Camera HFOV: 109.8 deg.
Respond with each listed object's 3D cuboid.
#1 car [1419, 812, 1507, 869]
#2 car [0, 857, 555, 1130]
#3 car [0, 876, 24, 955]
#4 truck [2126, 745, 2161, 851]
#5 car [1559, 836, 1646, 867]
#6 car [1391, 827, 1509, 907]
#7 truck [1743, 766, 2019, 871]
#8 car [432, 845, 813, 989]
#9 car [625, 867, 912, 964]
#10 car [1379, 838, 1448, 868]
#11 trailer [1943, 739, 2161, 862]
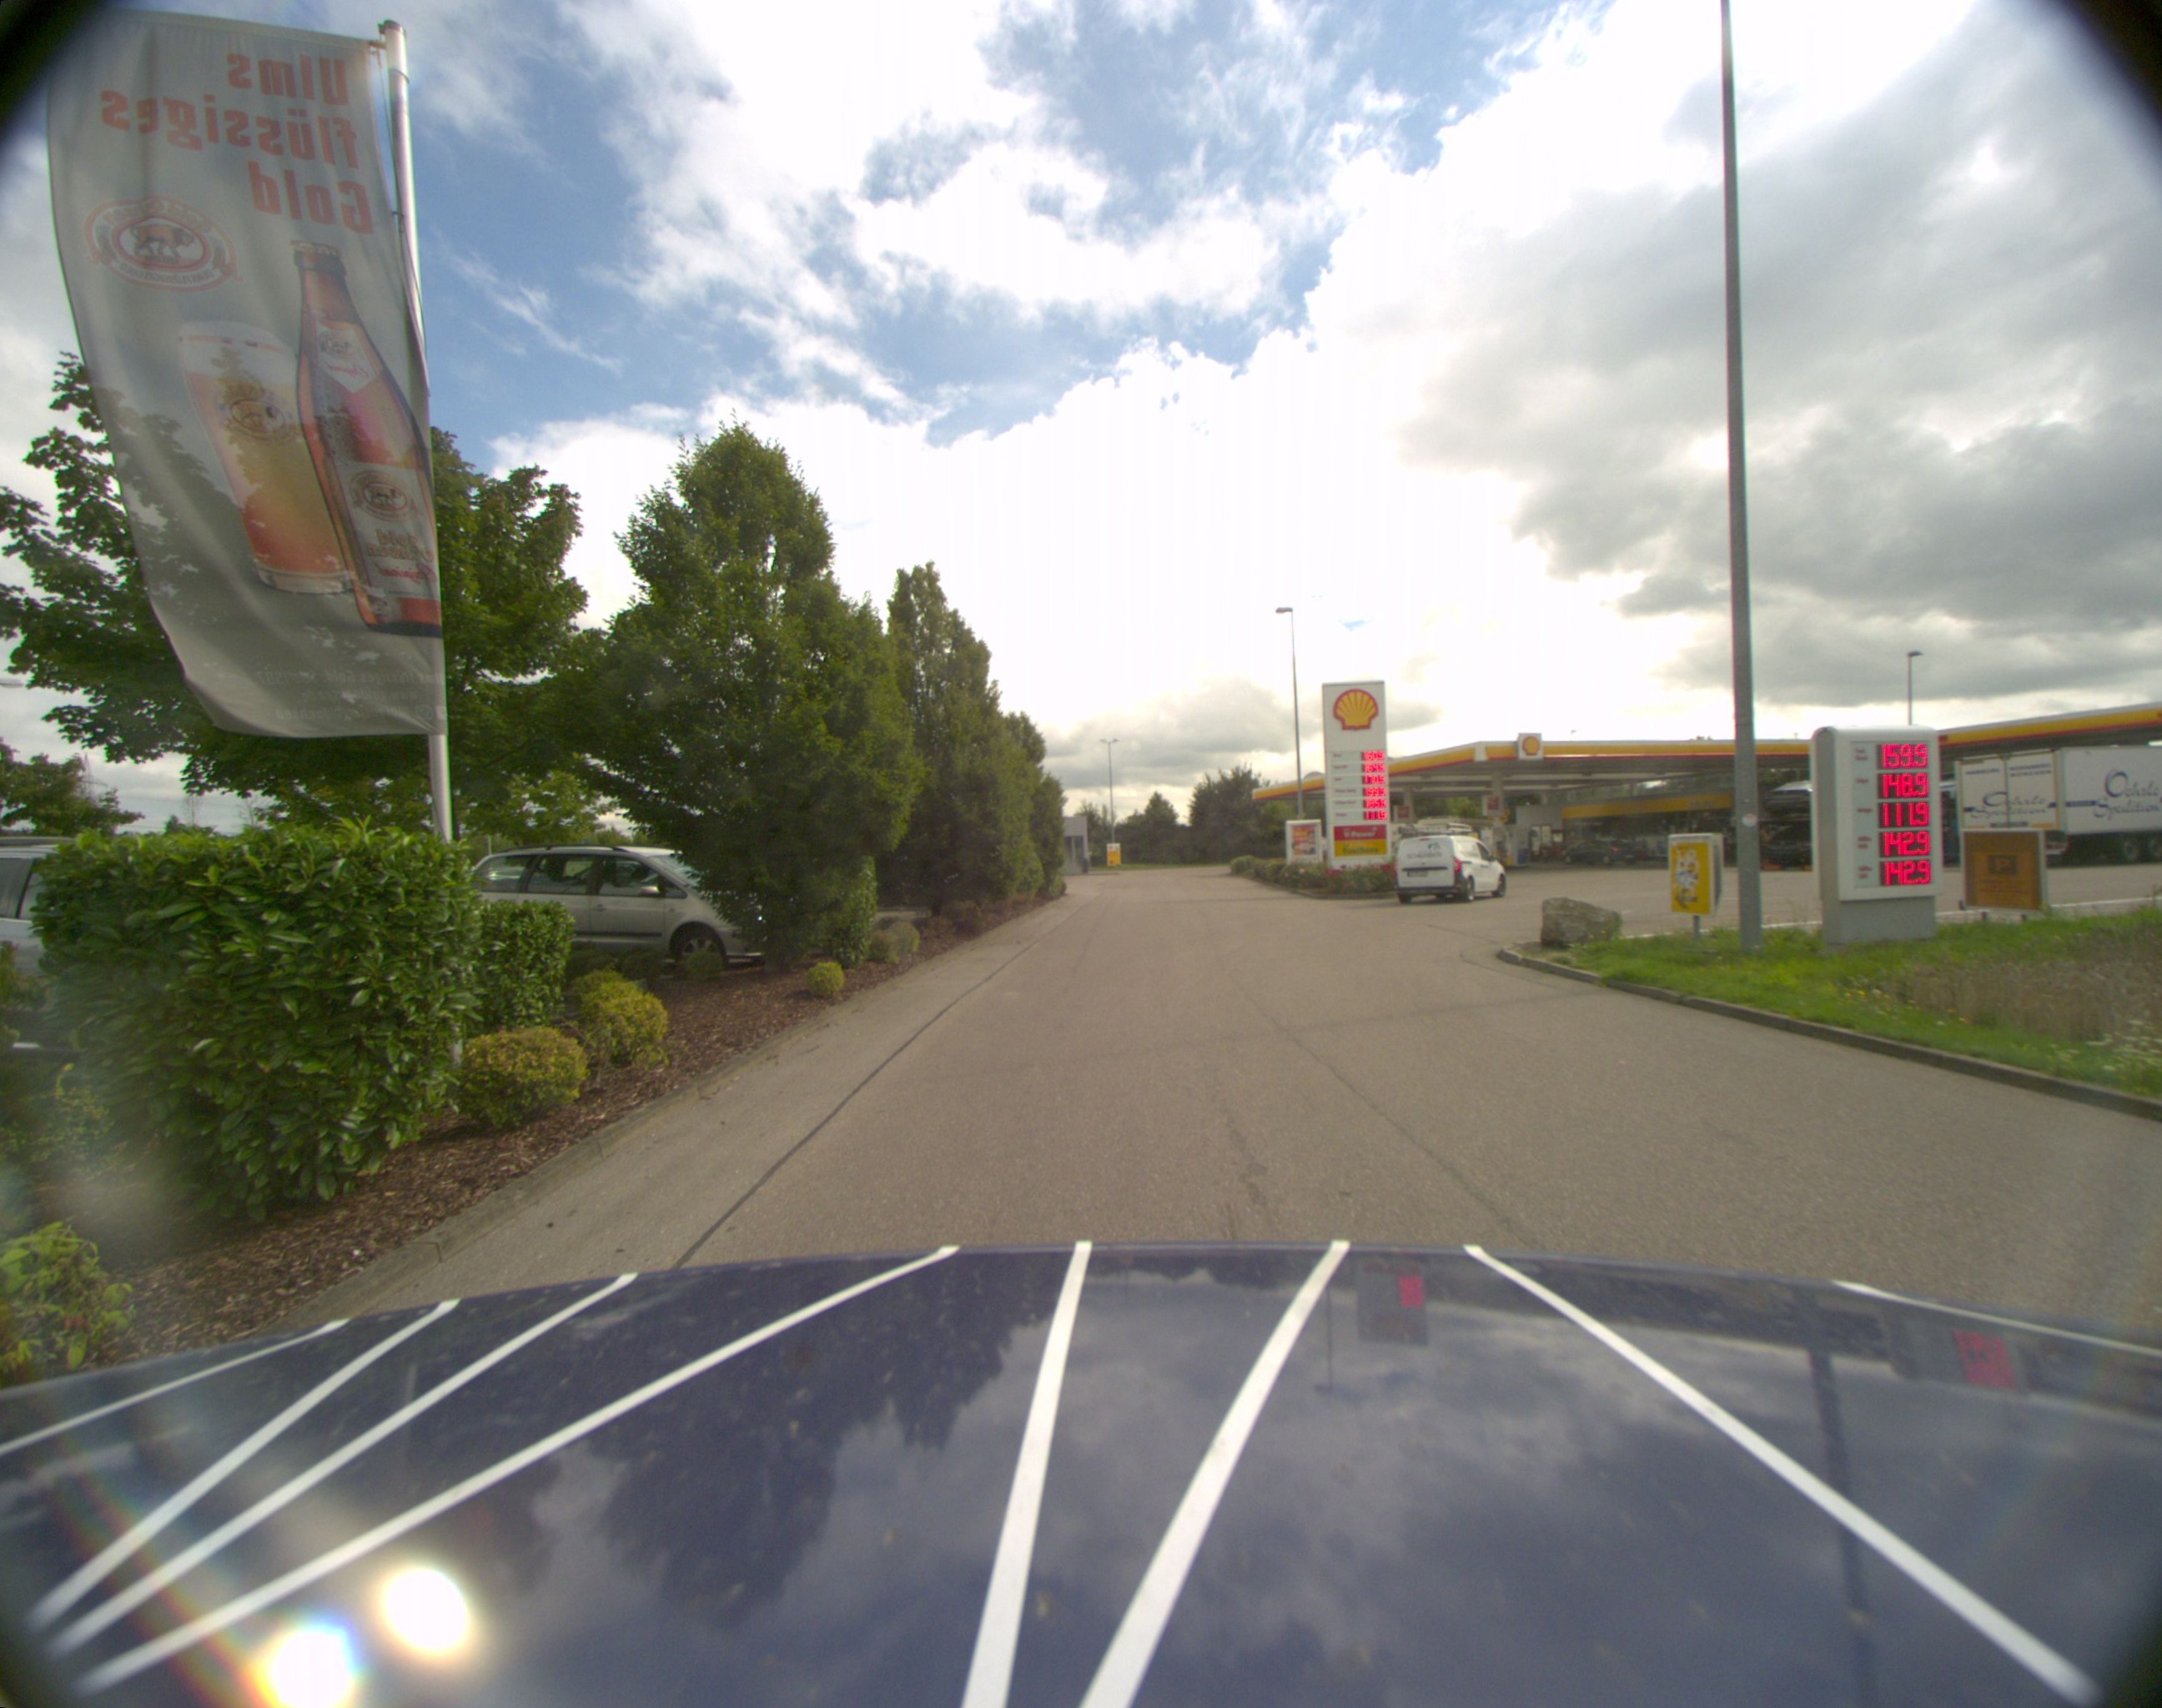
[{"bbox_3d":[20.127,-0.736,39.890,5.819,2.770,2.218,-2,0,-43],"label":"car"},{"bbox_3d":[-7.115,0.920,6.111,4.672,1.687,1.920,-1,1,10],"label":"car"},{"bbox_3d":[-23.612,1.303,14.737,3.994,1.561,2.001,-2,0,9],"label":"car"},{"bbox_3d":[44.381,-2.257,28.881,7.170,4.001,2.710,-2,0,-12],"label":"truck"},{"bbox_3d":[28.853,-0.127,42.141,1.717,1.592,3.757,-2,0,-13],"label":"car"},{"bbox_3d":[10.235,0.312,20.946,1.791,2.000,3.889,-2,0,43],"label":"car"},{"bbox_3d":[33.520,-1.576,31.666,13.269,3.901,2.747,-2,2,-19],"label":"truck"},{"bbox_3d":[-6.179,0.825,10.457,4.358,1.706,1.658,-2,0,8],"label":"car"},{"bbox_3d":[-5.052,0.970,12.599,3.996,1.342,1.726,-2,0,4],"label":"car"},{"bbox_3d":[19.159,-0.073,43.732,3.968,1.550,1.995,-2,0,-39],"label":"car"},{"bbox_3d":[37.982,-1.974,27.621,12.850,4.001,2.710,-2,0,-12],"label":"trailer"}]
